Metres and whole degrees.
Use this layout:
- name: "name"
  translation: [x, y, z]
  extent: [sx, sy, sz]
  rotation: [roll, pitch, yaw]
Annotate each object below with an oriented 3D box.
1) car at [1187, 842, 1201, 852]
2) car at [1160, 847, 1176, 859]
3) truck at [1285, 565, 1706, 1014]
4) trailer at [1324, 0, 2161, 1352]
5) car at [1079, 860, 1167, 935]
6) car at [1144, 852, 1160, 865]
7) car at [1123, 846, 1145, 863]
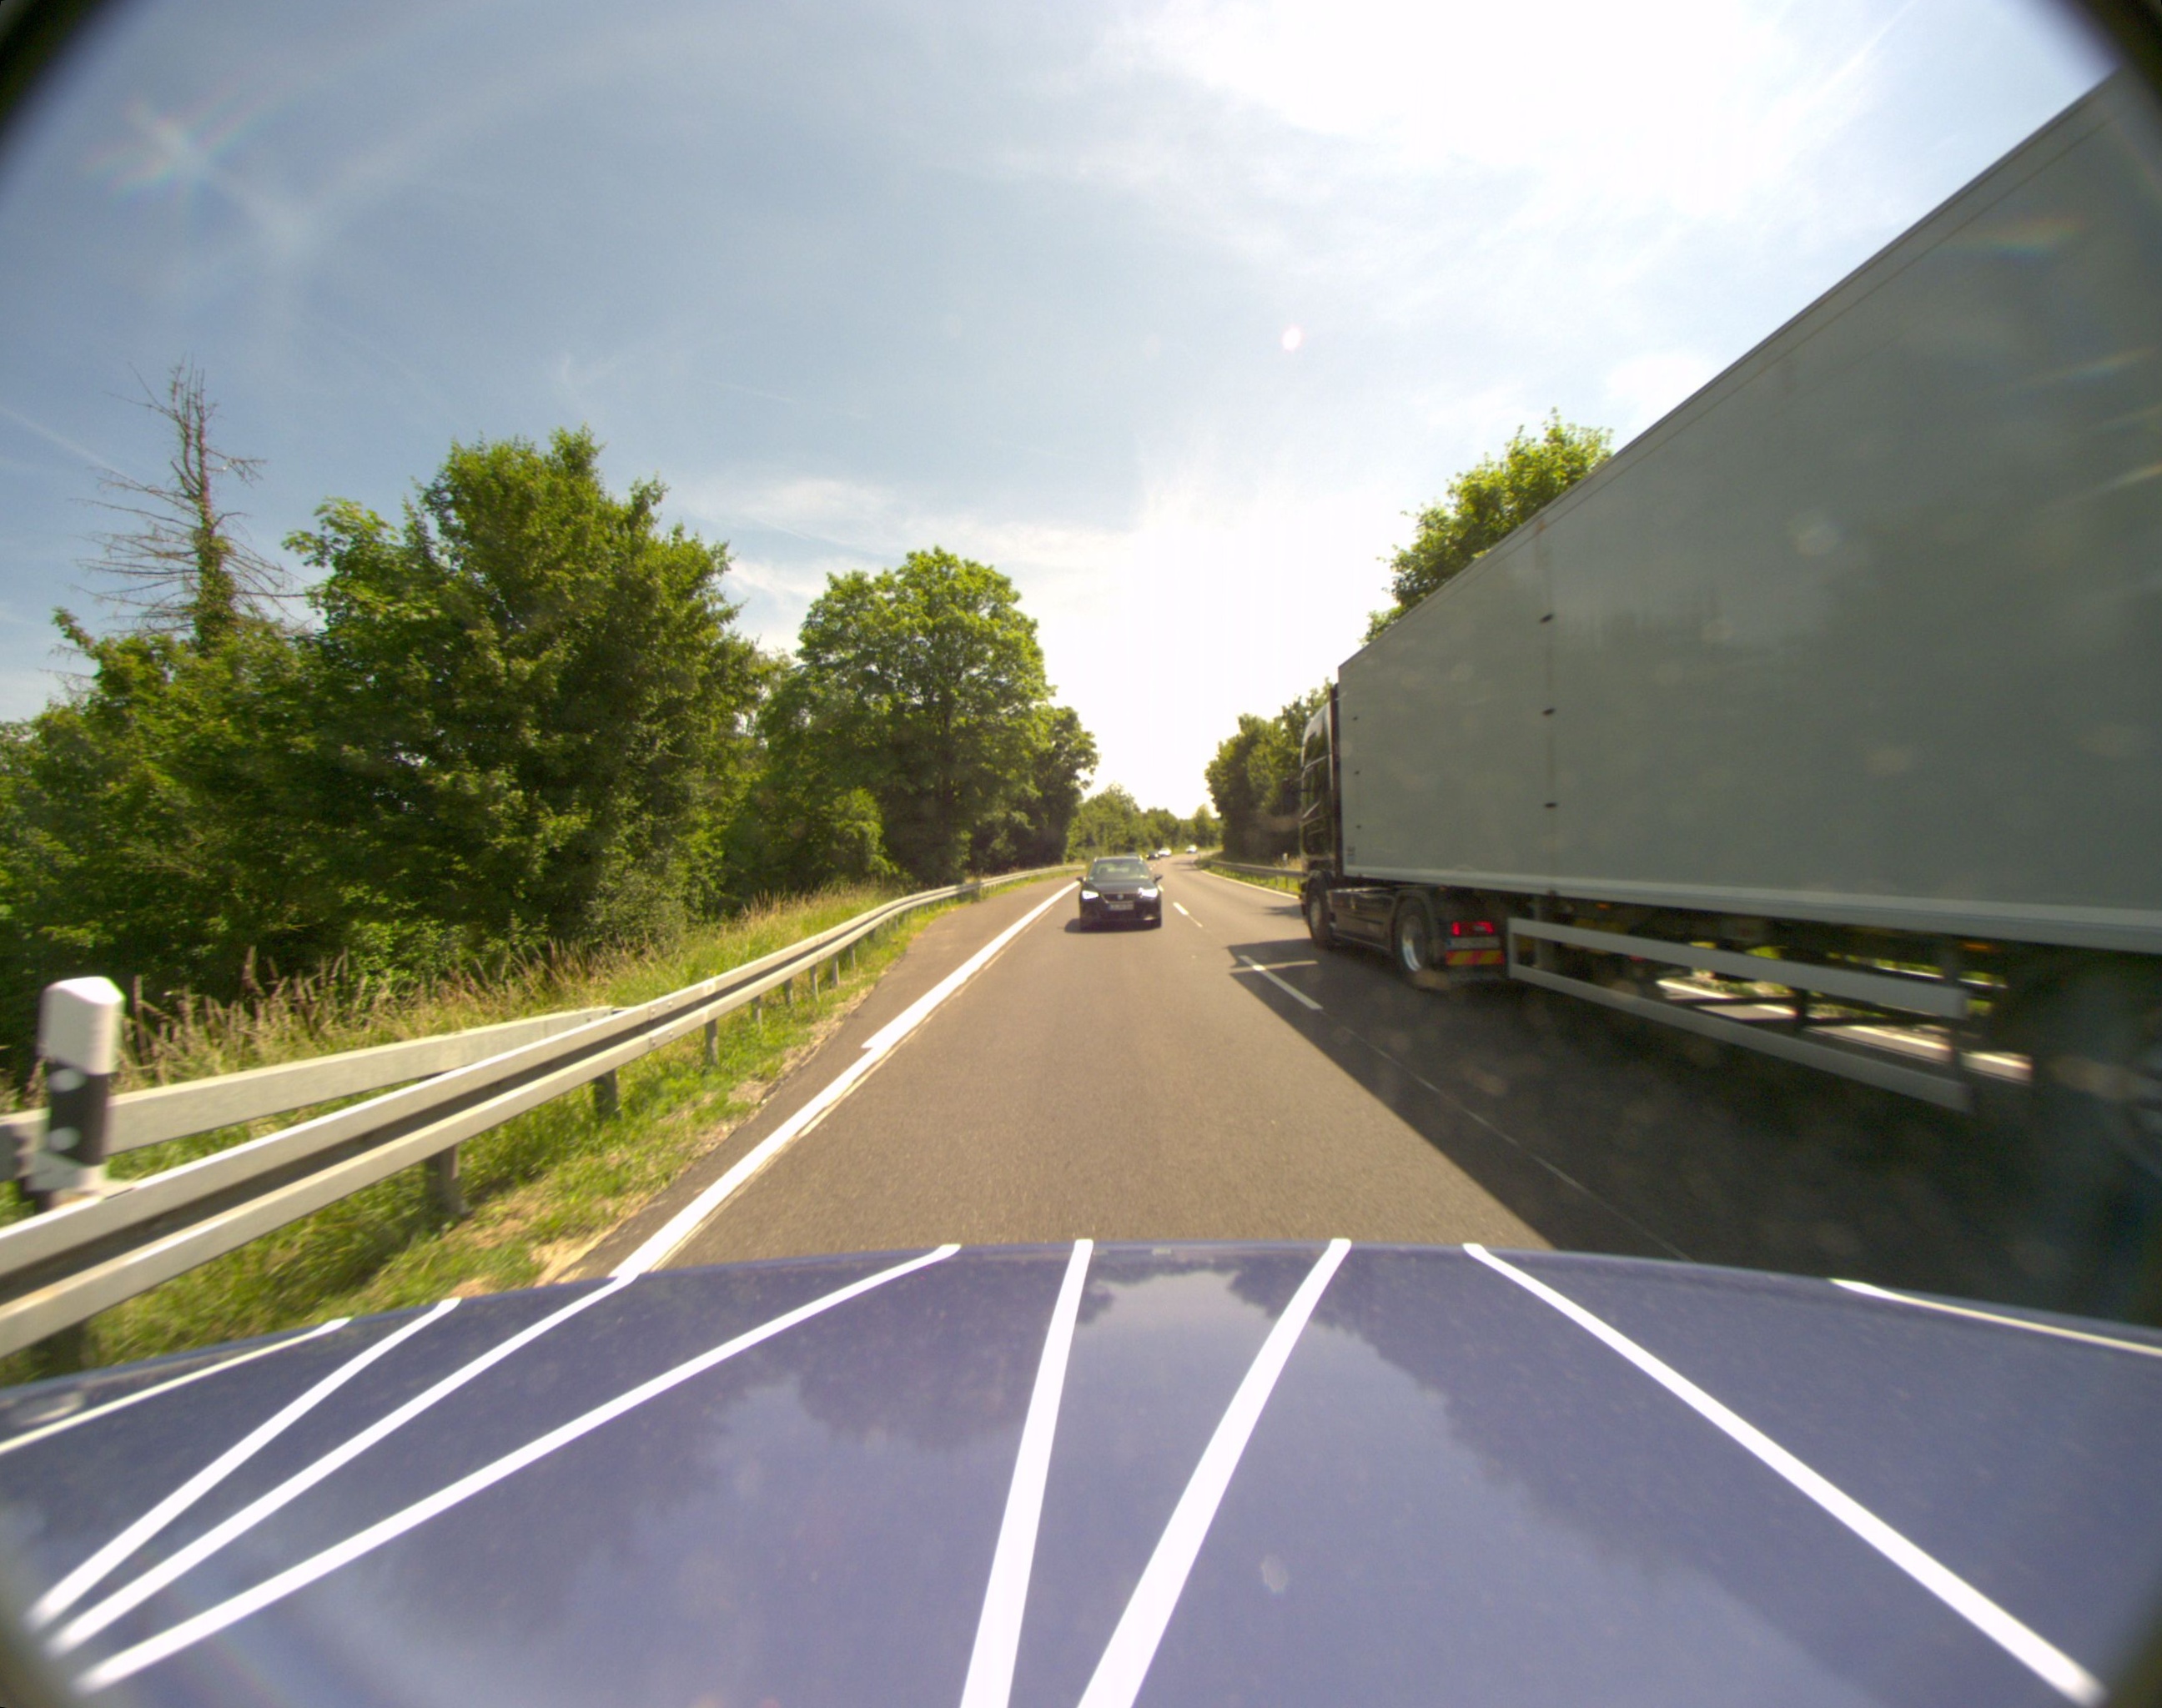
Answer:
- name: "car"
  translation: [23.787, -1.446, 160.302]
  extent: [1.996, 2.002, 4.005]
  rotation: [-2, 1, 21]
- name: "car"
  translation: [15.060, -0.108, 131.690]
  extent: [1.996, 2.002, 4.005]
  rotation: [-1, 0, 17]
- name: "truck"
  translation: [4.669, -0.597, 9.995]
  extent: [2.452, 4.170, 5.648]
  rotation: [-1, 0, 1]
- name: "trailer"
  translation: [4.541, -0.567, 3.530]
  extent: [2.452, 4.160, 14.015]
  rotation: [-1, 0, 1]
- name: "car"
  translation: [1.020, 0.902, 17.292]
  extent: [1.737, 1.467, 4.002]
  rotation: [-1, 0, 5]
- name: "car"
  translation: [10.269, 0.619, 109.135]
  extent: [1.882, 1.698, 4.003]
  rotation: [-1, 0, 11]
- name: "car"
  translation: [5.648, 0.048, 80.001]
  extent: [1.882, 1.698, 4.003]
  rotation: [-1, 0, 10]
